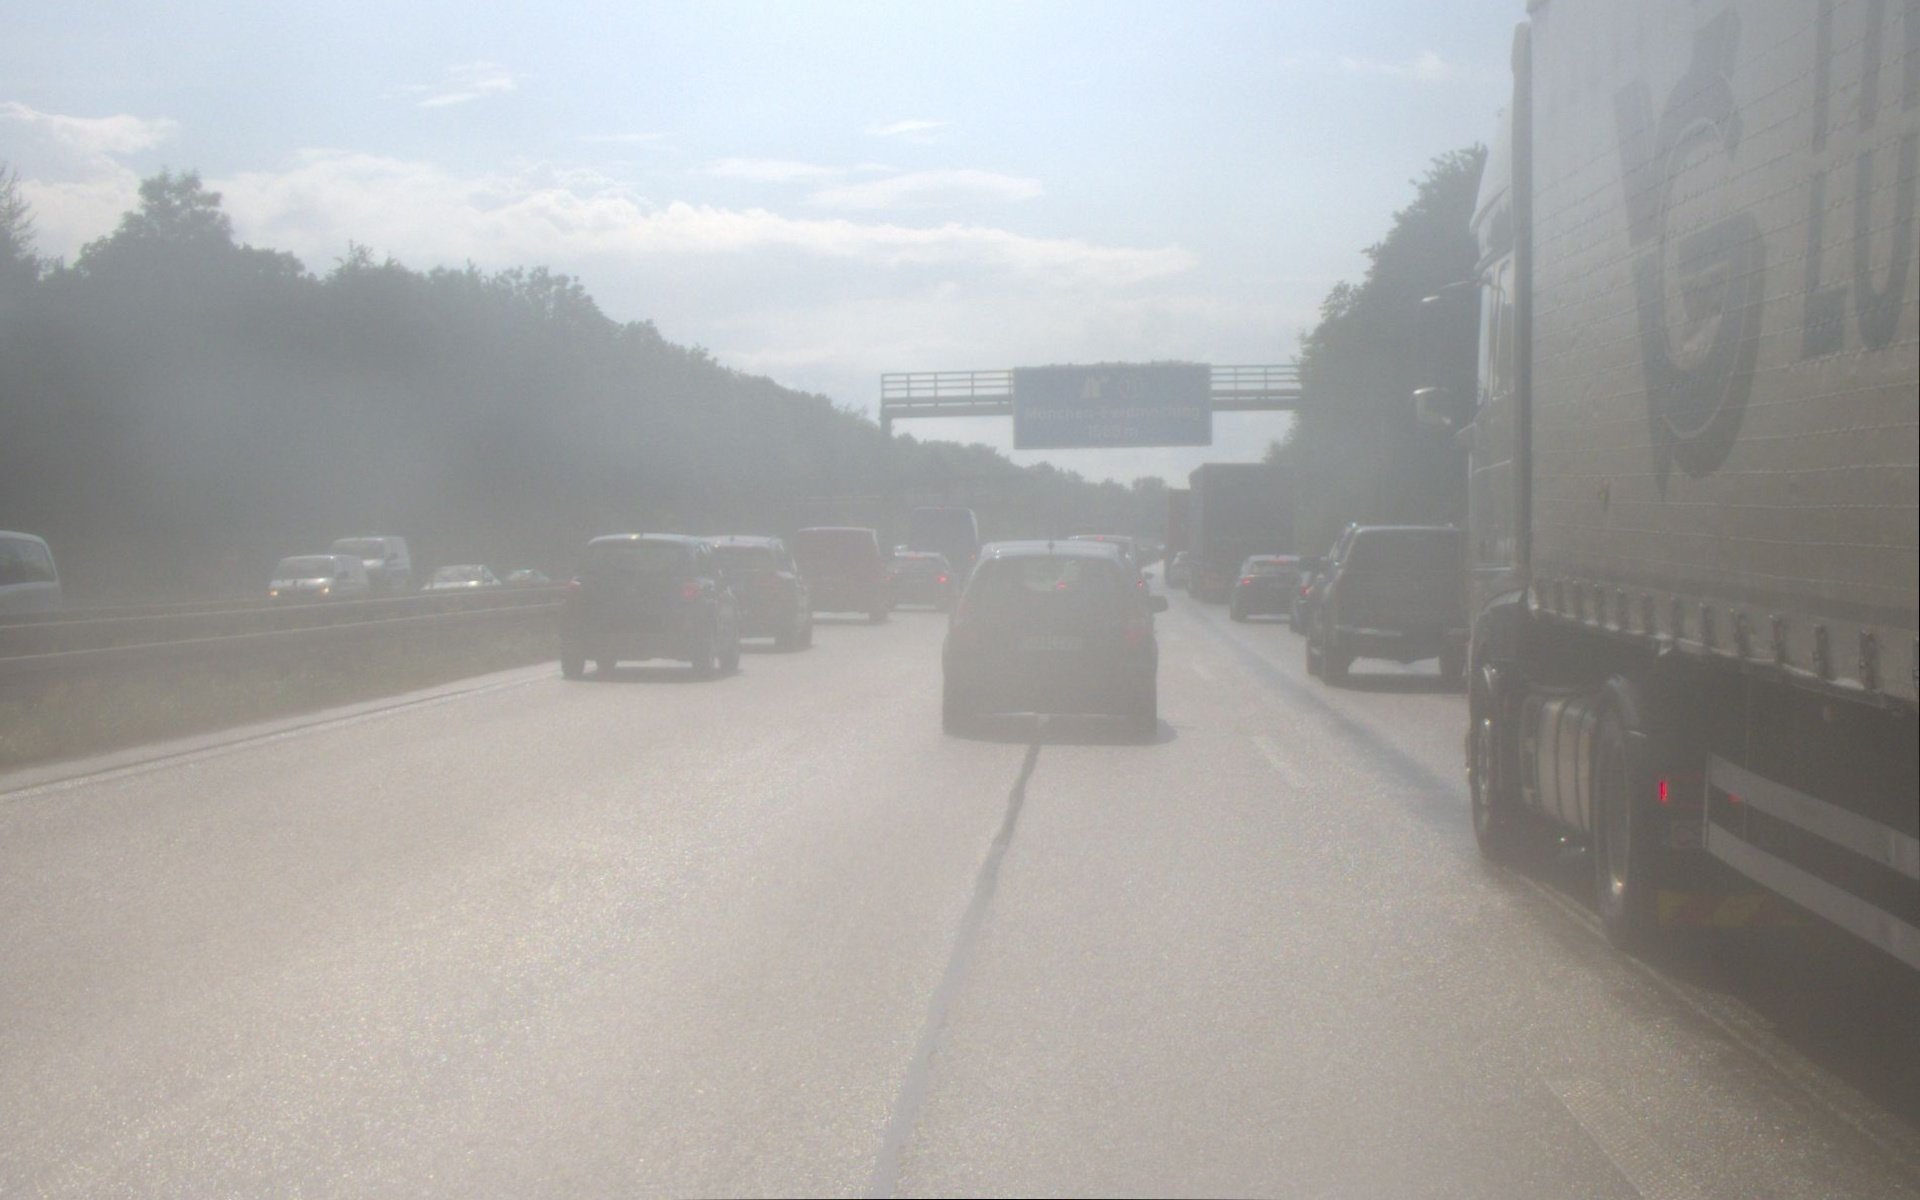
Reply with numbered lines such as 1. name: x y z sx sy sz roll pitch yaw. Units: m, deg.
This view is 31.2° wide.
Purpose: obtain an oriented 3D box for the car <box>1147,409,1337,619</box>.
1. car: 8.352 -2.470 104.612 4.404 5.810 16.818 1 0 0

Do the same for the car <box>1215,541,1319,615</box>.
1. car: 6.517 -0.464 73.367 1.864 1.511 3.976 1 0 0

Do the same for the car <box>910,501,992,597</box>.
1. car: -0.226 -1.409 96.695 1.994 2.606 5.259 1 0 3

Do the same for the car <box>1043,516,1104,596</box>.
1. car: 4.017 -1.523 120.836 1.994 2.737 5.259 1 0 3

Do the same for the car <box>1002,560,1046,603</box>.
1. car: 3.267 -0.947 174.568 1.994 2.108 4.888 1 0 3

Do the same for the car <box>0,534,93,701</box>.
1. car: -11.825 0.171 39.851 2.046 1.885 5.259 1 0 2

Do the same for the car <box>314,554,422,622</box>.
1. car: -17.128 -0.358 99.689 2.046 1.885 5.259 1 0 2

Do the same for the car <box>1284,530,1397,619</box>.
1. car: 6.752 -0.456 61.282 1.591 1.511 3.976 1 0 1

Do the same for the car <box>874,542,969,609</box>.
1. car: -0.898 -0.590 83.770 1.994 1.559 4.756 1 0 3

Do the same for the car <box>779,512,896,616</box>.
1. car: -2.481 -0.739 70.920 1.979 2.047 4.756 1 0 3

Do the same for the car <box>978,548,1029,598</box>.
1. car: 1.885 -1.151 148.110 1.994 2.108 4.888 1 0 3

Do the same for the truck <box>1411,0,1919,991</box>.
1. truck: 4.005 -0.621 15.076 3.284 3.877 6.396 1 1 1

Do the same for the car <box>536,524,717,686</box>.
1. car: -3.893 0.040 40.666 1.692 1.798 3.976 1 0 1

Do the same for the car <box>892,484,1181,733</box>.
1. car: 0.652 0.047 29.798 2.274 1.948 4.821 1 0 1

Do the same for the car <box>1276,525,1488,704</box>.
1. car: 4.848 0.141 40.213 1.942 1.912 5.652 1 0 2

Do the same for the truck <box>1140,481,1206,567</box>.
1. truck: 9.318 -3.308 151.033 2.775 3.619 5.916 1 0 3

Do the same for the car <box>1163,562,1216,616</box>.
1. car: 9.230 -0.453 138.560 1.994 2.108 4.888 1 0 3

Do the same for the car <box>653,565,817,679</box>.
1. car: -3.310 0.299 51.428 1.909 1.631 4.616 0 0 3

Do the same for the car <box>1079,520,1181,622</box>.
1. car: 3.118 -0.531 63.627 1.692 1.798 3.976 1 0 1

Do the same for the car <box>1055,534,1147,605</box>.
1. car: 3.096 -0.671 76.144 1.864 1.511 3.976 1 0 0

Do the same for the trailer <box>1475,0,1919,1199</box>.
1. trailer: 3.763 -0.533 8.229 3.284 3.885 14.128 1 1 2
